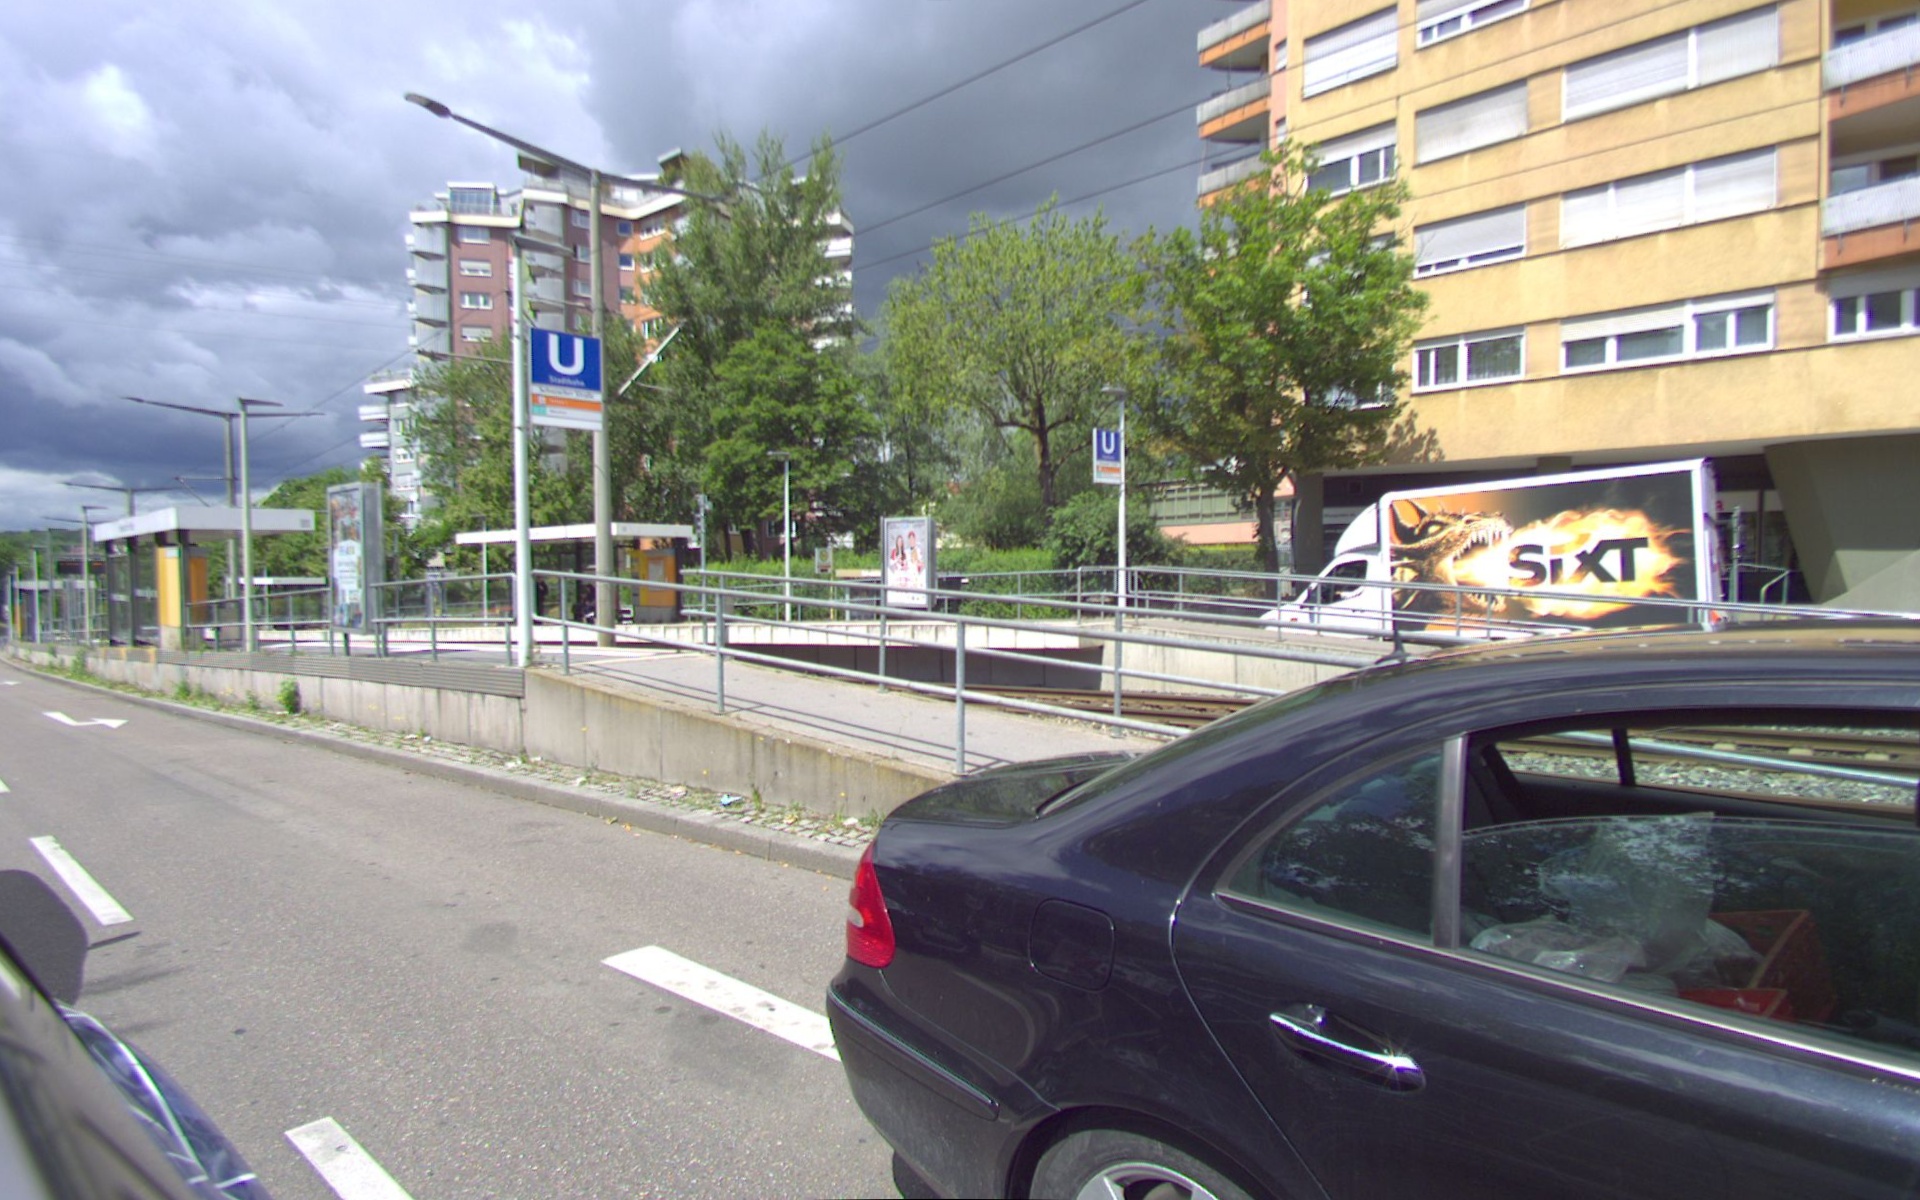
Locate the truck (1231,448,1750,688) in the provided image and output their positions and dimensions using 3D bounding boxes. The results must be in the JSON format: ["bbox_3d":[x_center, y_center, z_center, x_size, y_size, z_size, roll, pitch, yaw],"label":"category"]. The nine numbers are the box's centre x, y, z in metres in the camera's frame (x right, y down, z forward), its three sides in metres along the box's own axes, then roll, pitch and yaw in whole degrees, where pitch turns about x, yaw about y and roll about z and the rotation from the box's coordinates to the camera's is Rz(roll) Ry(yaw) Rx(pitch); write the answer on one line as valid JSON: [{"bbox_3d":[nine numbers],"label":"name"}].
[{"bbox_3d":[8.495,-0.340,16.963,7.260,3.247,2.389,-2,-1,42],"label":"truck"}]

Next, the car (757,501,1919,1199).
[{"bbox_3d":[1.832,0.624,1.309,4.542,1.472,1.710,-1,0,42],"label":"car"}]
